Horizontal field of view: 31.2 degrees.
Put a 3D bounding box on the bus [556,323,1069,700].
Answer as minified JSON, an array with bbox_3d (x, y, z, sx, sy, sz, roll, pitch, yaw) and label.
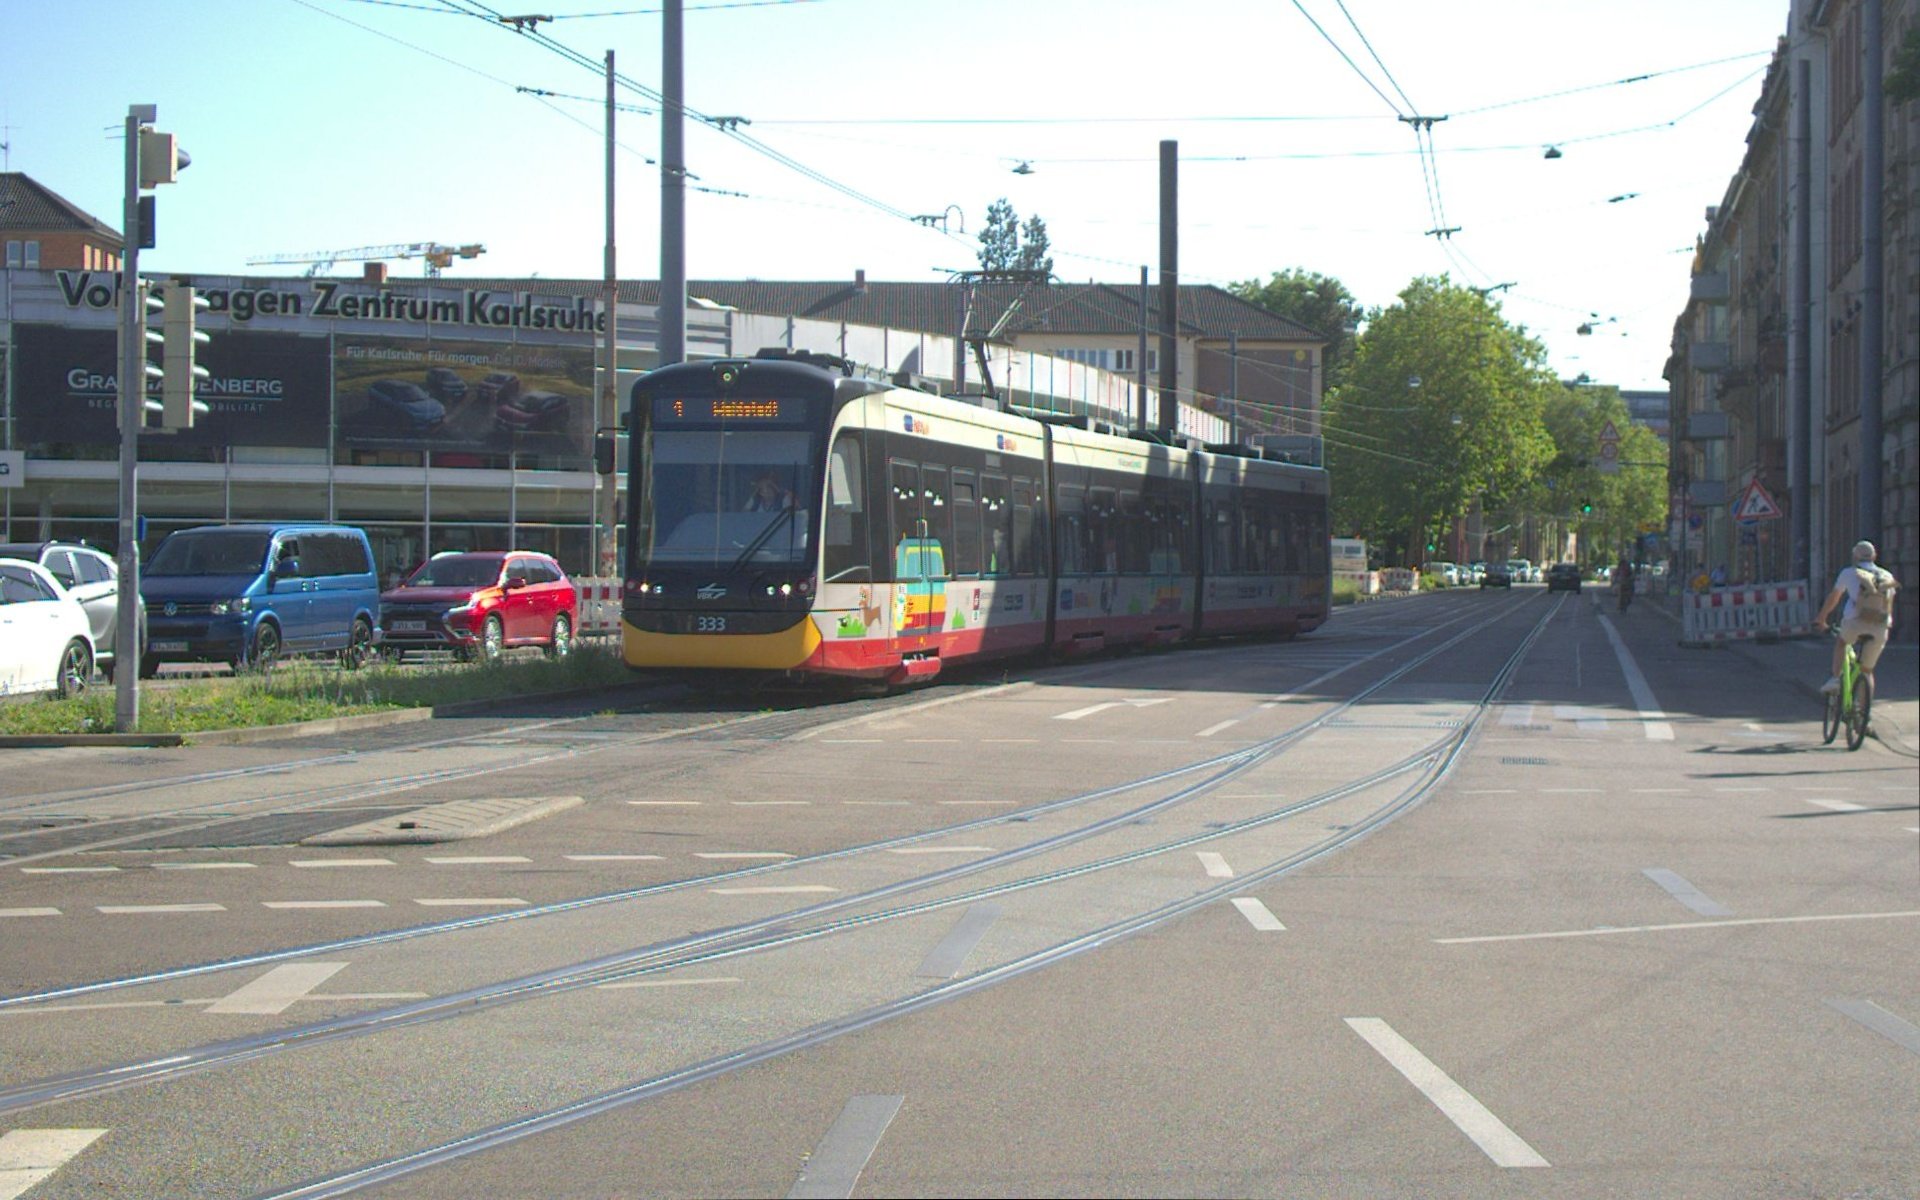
[{"bbox_3d":[-1.233,-0.944,39.718,2.842,3.577,13.489,1,1,11],"label":"bus"}]

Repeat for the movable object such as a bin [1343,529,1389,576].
[{"bbox_3d":[24.158,-2.823,204.591,2.496,2.636,5.987,2,1,8],"label":"movable object such as a bin"}]

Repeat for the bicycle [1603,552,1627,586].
[{"bbox_3d":[21.763,-1.022,114.254,0.681,1.110,2.706,2,1,10],"label":"bicycle"}]

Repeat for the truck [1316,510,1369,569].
[{"bbox_3d":[19.372,-3.034,173.910,2.539,2.820,6.374,2,1,7],"label":"truck"}]

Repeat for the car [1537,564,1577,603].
[{"bbox_3d":[32.573,-0.905,187.655,1.994,2.007,3.998,2,1,11],"label":"car"}]

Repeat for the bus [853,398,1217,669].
[{"bbox_3d":[1.369,-0.962,51.256,2.843,3.577,10.718,1,1,15],"label":"bus"}]

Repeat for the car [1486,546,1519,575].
[{"bbox_3d":[33.152,-2.400,209.963,1.760,1.691,4.142,2,1,12],"label":"car"}]

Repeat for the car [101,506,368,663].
[{"bbox_3d":[-9.307,-0.193,44.469,1.804,1.927,4.162,0,0,13],"label":"car"}]

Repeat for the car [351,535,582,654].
[{"bbox_3d":[-7.375,-0.081,51.787,1.800,1.713,4.413,0,0,16],"label":"car"}]

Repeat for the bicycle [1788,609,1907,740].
[{"bbox_3d":[7.937,0.649,30.822,0.531,1.114,1.934,2,0,0],"label":"bicycle"}]

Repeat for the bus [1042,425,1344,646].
[{"bbox_3d":[4.409,-1.134,61.863,2.843,3.577,11.261,1,1,17],"label":"bus"}]

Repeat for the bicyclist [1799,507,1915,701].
[{"bbox_3d":[8.016,0.027,30.749,0.681,1.678,1.120,2,0,0],"label":"bicyclist"}]

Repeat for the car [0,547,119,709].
[{"bbox_3d":[-9.374,0.221,30.730,1.803,1.427,4.538,2,1,11],"label":"car"}]

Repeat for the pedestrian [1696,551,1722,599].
[{"bbox_3d":[25.031,-0.843,114.877,0.798,1.599,0.652,1,0,13],"label":"pedestrian"}]

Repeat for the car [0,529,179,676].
[{"bbox_3d":[-10.603,0.019,39.120,1.803,1.573,4.163,0,0,11],"label":"car"}]
